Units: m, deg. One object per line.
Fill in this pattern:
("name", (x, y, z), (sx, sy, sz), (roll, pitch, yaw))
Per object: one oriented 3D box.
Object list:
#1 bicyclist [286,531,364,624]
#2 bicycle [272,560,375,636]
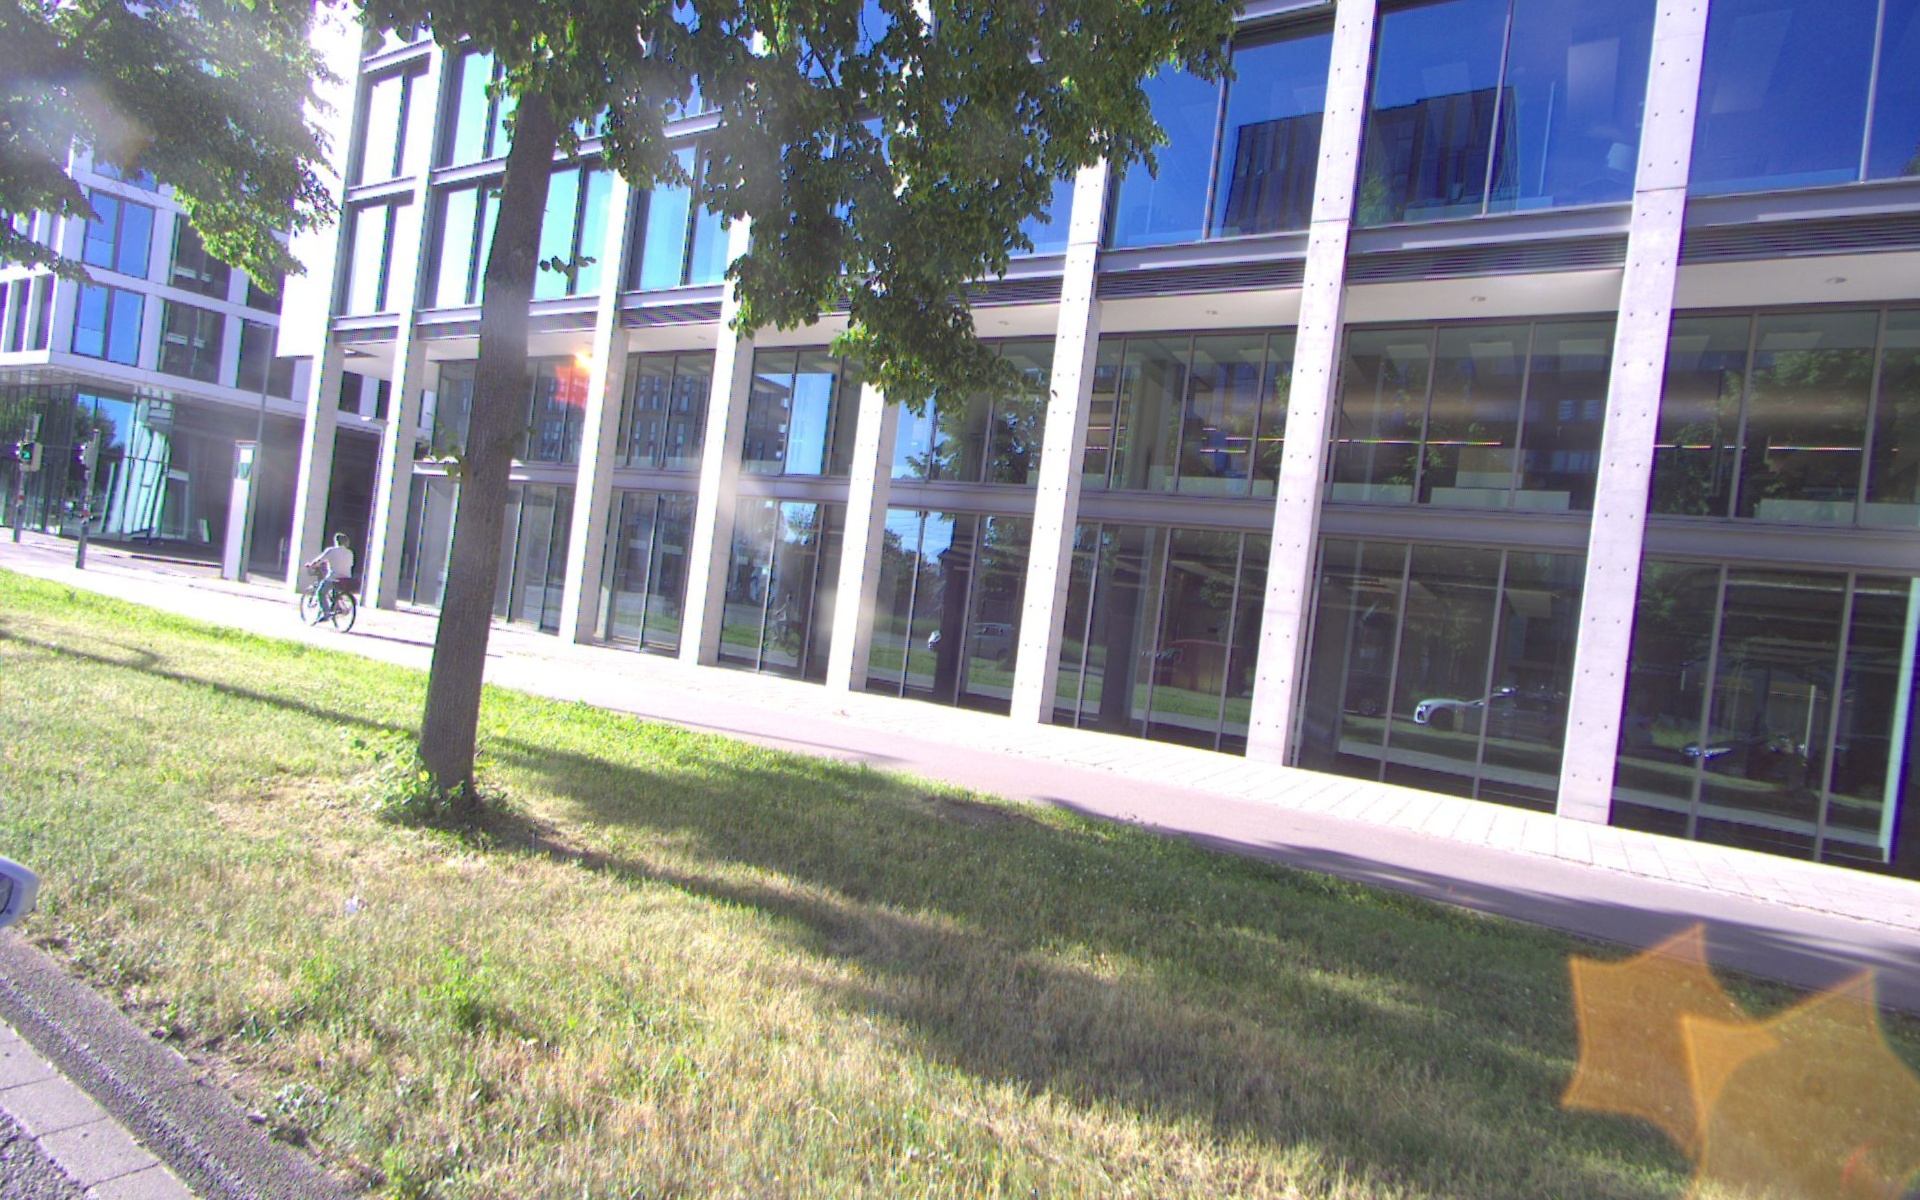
("bicyclist", (-11.491, -0.407, 18.197), (0.835, 1.550, 0.772), (7, 0, 31))
("bicycle", (-11.515, -0.040, 18.186), (1.929, 1.189, 0.742), (6, 1, 32))
